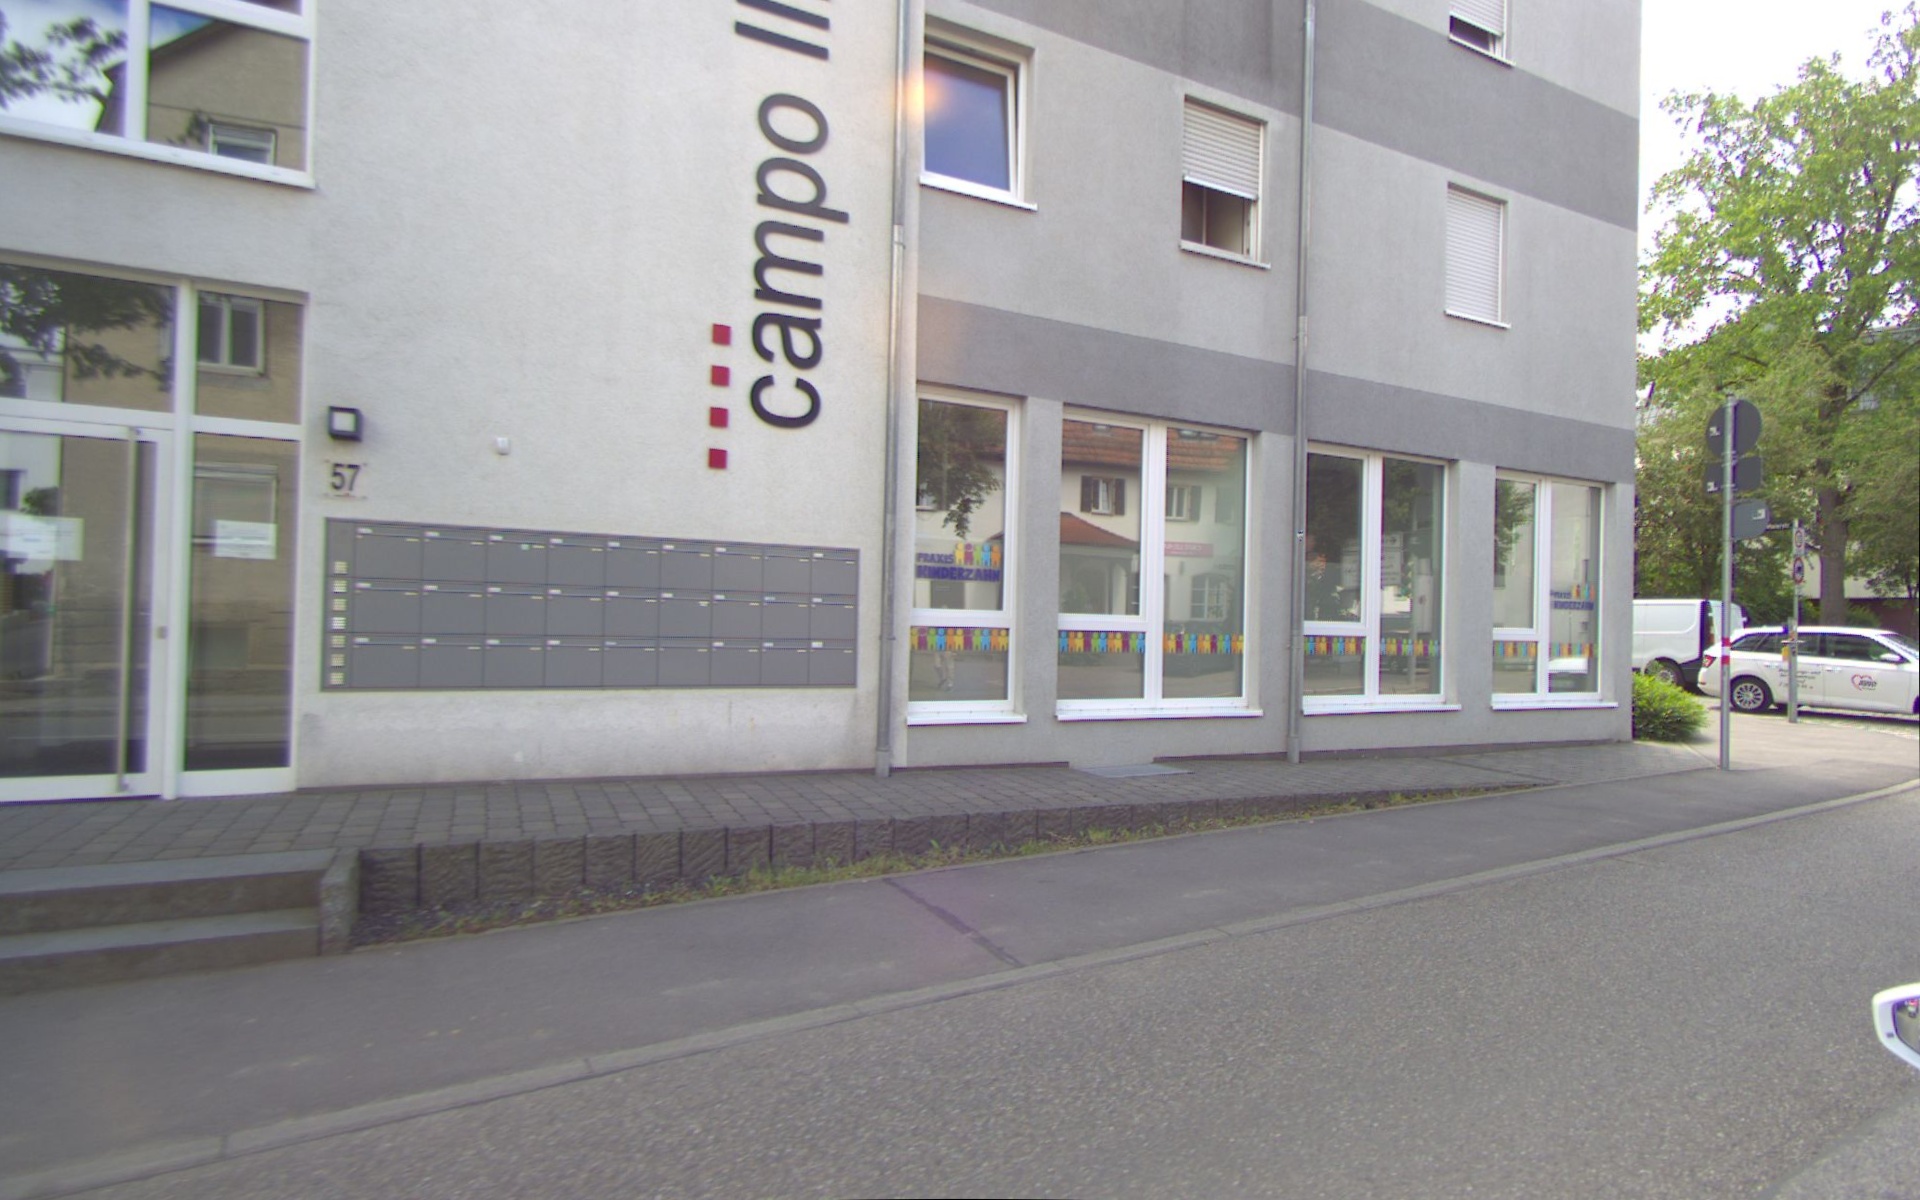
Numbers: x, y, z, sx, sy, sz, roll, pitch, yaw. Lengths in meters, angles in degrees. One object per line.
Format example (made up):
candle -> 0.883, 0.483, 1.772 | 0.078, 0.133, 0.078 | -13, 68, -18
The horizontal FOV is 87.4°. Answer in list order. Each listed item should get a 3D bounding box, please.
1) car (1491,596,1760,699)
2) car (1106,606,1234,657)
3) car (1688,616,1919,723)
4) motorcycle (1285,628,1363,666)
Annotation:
car -> 14.742, 0.966, 22.524 | 2.072, 2.036, 4.595 | 1, 0, -32
car -> 7.123, 1.026, 34.463 | 2.016, 1.597, 4.122 | 1, 0, -32
car -> 14.612, 1.071, 16.295 | 1.800, 1.534, 4.192 | 0, 0, -29
motorcycle -> 10.504, 1.339, 28.966 | 2.322, 1.018, 1.190 | 1, 0, -43
